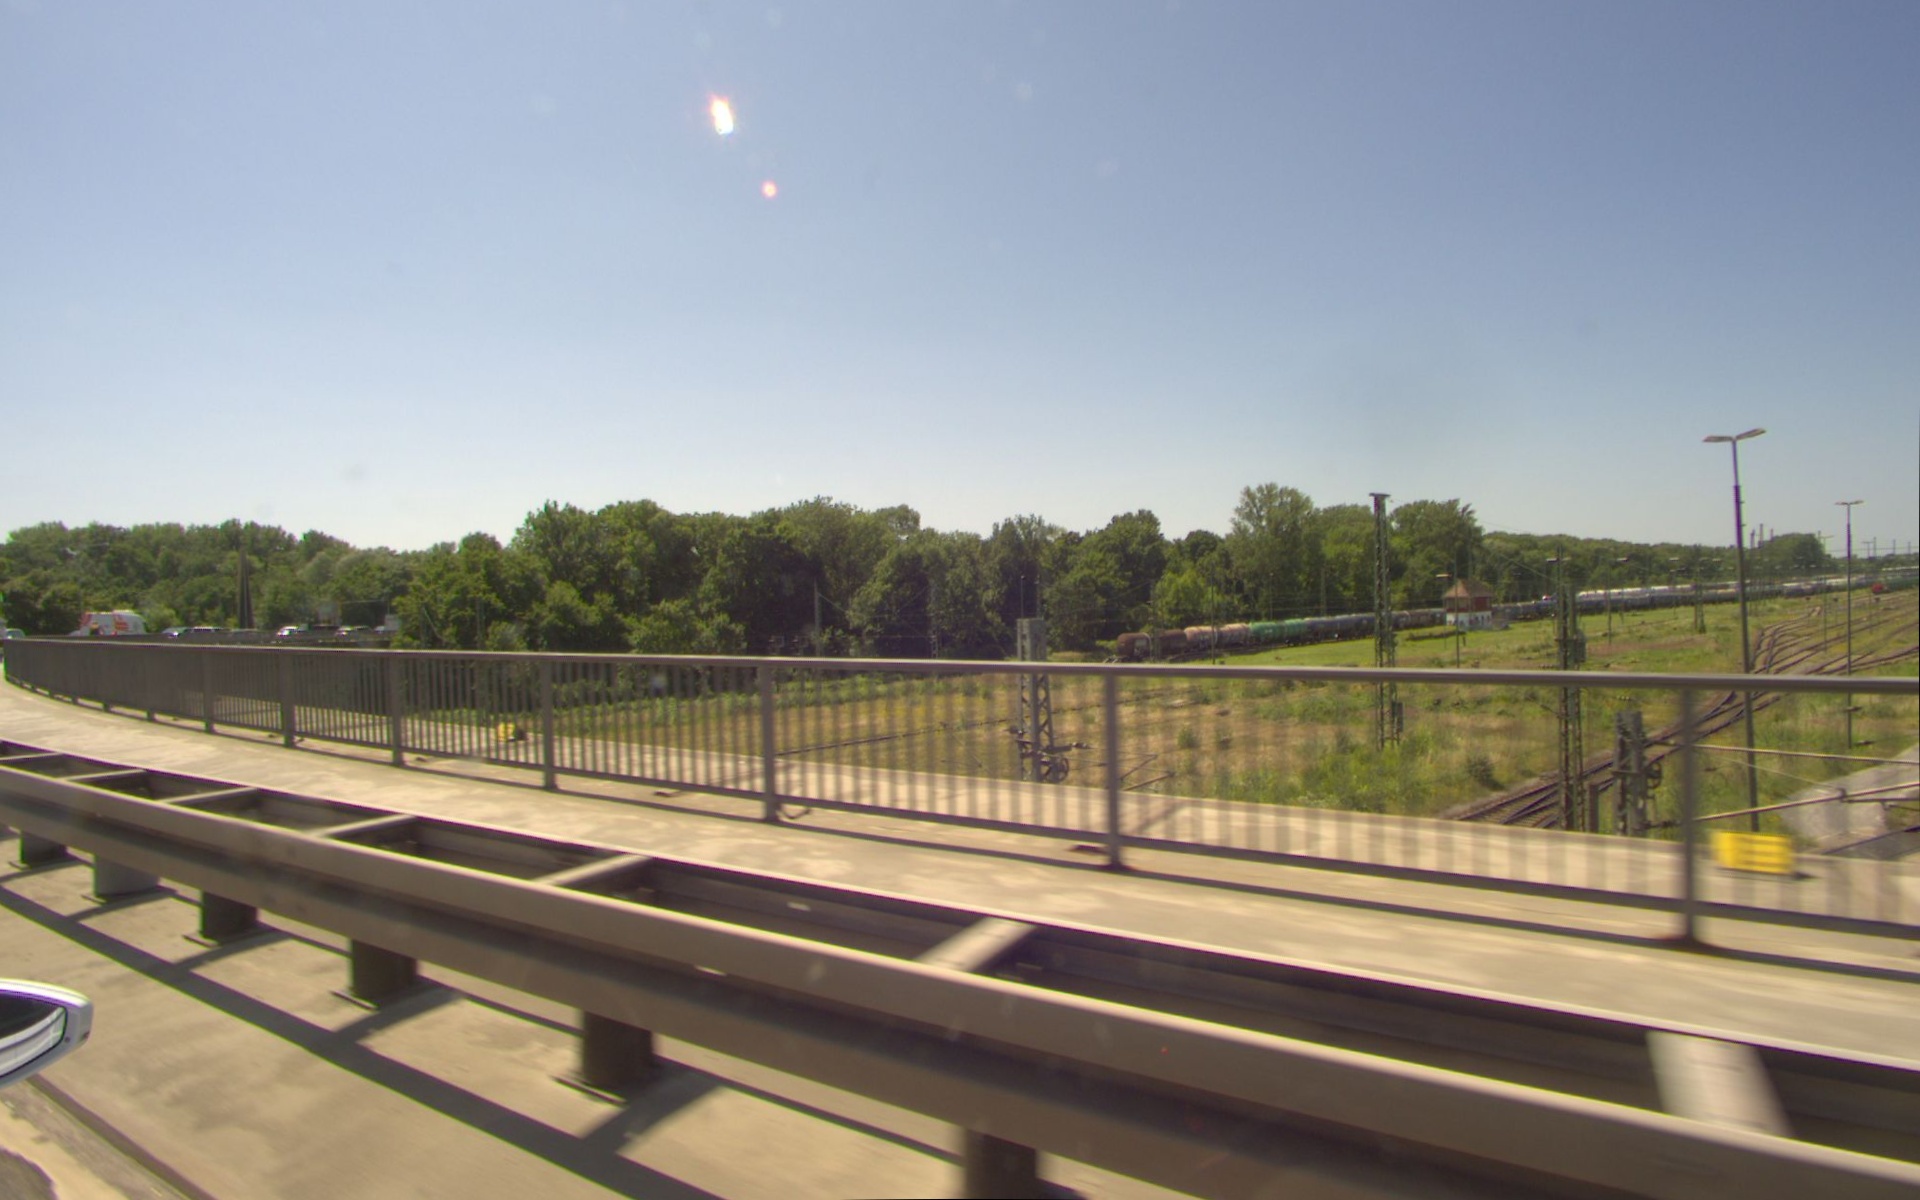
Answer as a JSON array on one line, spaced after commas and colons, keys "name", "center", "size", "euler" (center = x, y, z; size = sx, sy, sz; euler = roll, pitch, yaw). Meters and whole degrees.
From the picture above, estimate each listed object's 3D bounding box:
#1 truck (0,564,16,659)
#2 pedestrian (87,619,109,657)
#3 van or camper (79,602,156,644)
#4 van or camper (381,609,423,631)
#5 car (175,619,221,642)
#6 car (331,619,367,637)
[{"name": "truck", "center": [-48.138, 0.558, 47.922], "size": [3.139, 4.643, 7.350], "euler": [0, -2, -34]}, {"name": "pedestrian", "center": [-45.203, 1.989, 52.523], "size": [0.729, 1.992, 0.730], "euler": [0, -1, -32]}, {"name": "van or camper", "center": [-57.643, 1.548, 68.660], "size": [2.173, 2.746, 5.910], "euler": [0, -1, -21]}, {"name": "van or camper", "center": [-71.471, 2.553, 128.349], "size": [2.444, 2.319, 4.967], "euler": [5, -5, 1]}, {"name": "car", "center": [-62.228, 2.504, 81.825], "size": [1.862, 1.873, 3.992], "euler": [0, -2, -19]}, {"name": "car", "center": [-67.422, 3.085, 110.506], "size": [1.859, 1.873, 4.000], "euler": [3, -2, -7]}]
